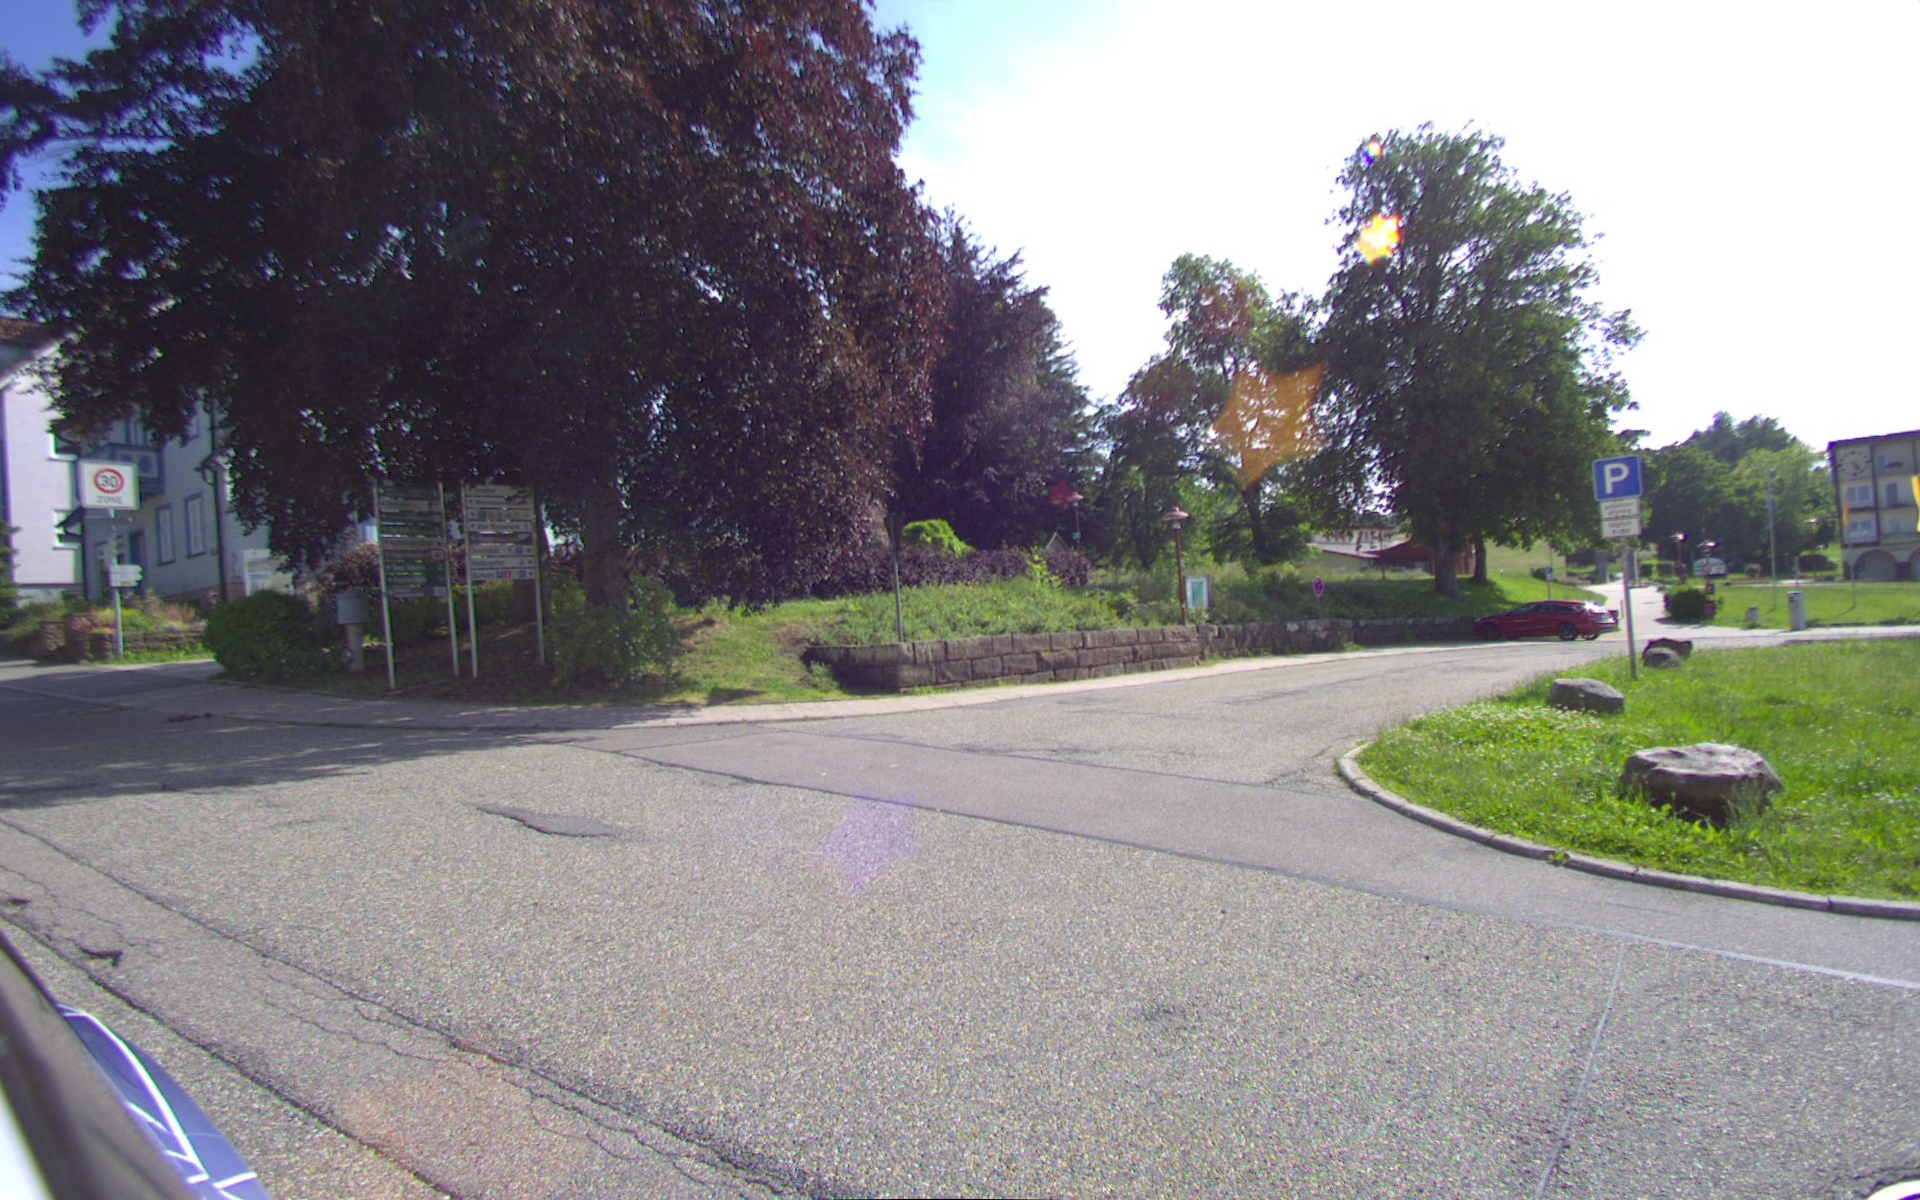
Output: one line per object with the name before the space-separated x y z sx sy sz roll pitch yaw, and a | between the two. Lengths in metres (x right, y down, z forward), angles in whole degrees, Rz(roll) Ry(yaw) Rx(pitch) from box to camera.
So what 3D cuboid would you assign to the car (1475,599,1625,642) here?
car | 20.975 0.724 36.142 1.793 1.409 4.250 -1 -1 -32
